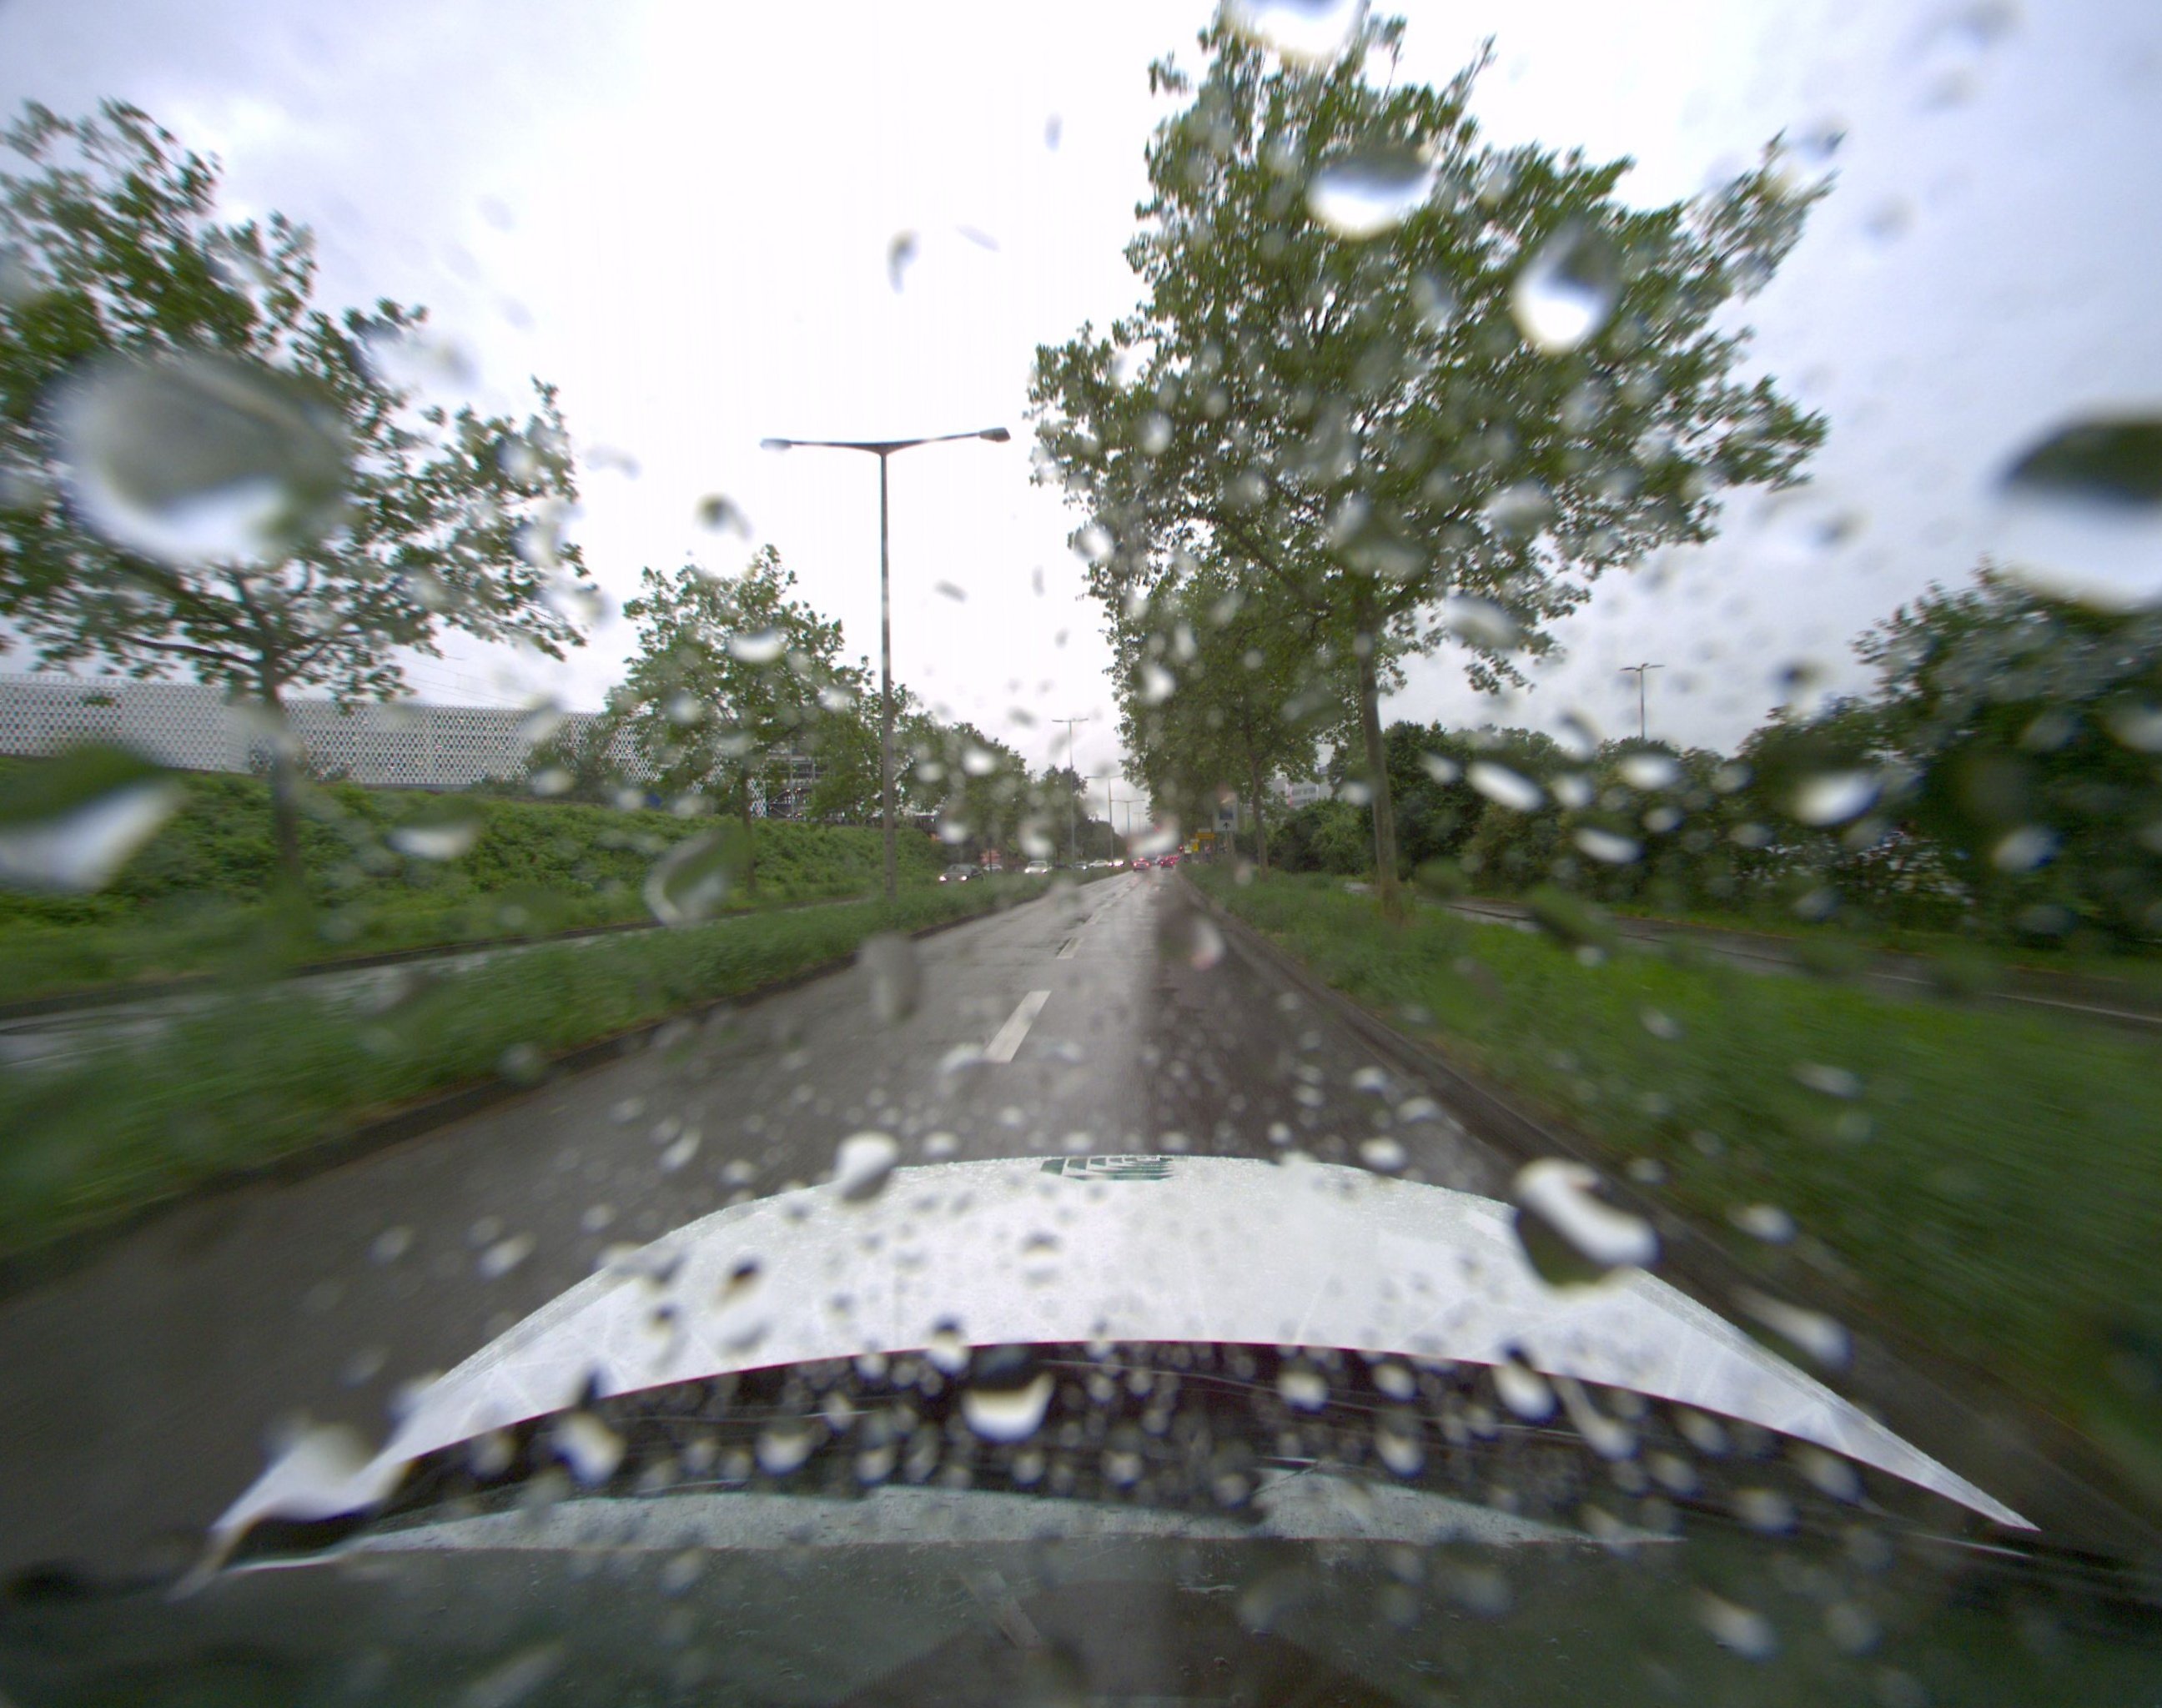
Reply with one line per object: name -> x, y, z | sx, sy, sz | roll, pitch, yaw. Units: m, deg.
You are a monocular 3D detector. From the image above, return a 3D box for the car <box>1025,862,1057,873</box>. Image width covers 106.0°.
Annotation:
car -> -5.843, 1.975, 120.102 | 4.627, 1.445, 1.937 | -1, 0, -1

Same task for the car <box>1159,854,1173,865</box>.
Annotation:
car -> 12.024, 0.826, 115.111 | 1.787, 1.537, 4.395 | 0, 0, 6

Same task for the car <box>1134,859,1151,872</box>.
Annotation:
car -> 7.079, 1.297, 93.366 | 1.681, 1.433, 4.582 | -1, -1, 6

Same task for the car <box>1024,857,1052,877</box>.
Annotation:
car -> -3.431, 1.051, 65.740 | 1.694, 1.495, 4.211 | -1, 0, 5

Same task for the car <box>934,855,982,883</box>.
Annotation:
car -> -6.589, 0.789, 44.073 | 1.623, 1.426, 4.006 | -1, 0, 5

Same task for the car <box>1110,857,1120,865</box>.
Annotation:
car -> 6.877, 1.449, 164.025 | 1.703, 1.530, 4.007 | -2, 0, 6
